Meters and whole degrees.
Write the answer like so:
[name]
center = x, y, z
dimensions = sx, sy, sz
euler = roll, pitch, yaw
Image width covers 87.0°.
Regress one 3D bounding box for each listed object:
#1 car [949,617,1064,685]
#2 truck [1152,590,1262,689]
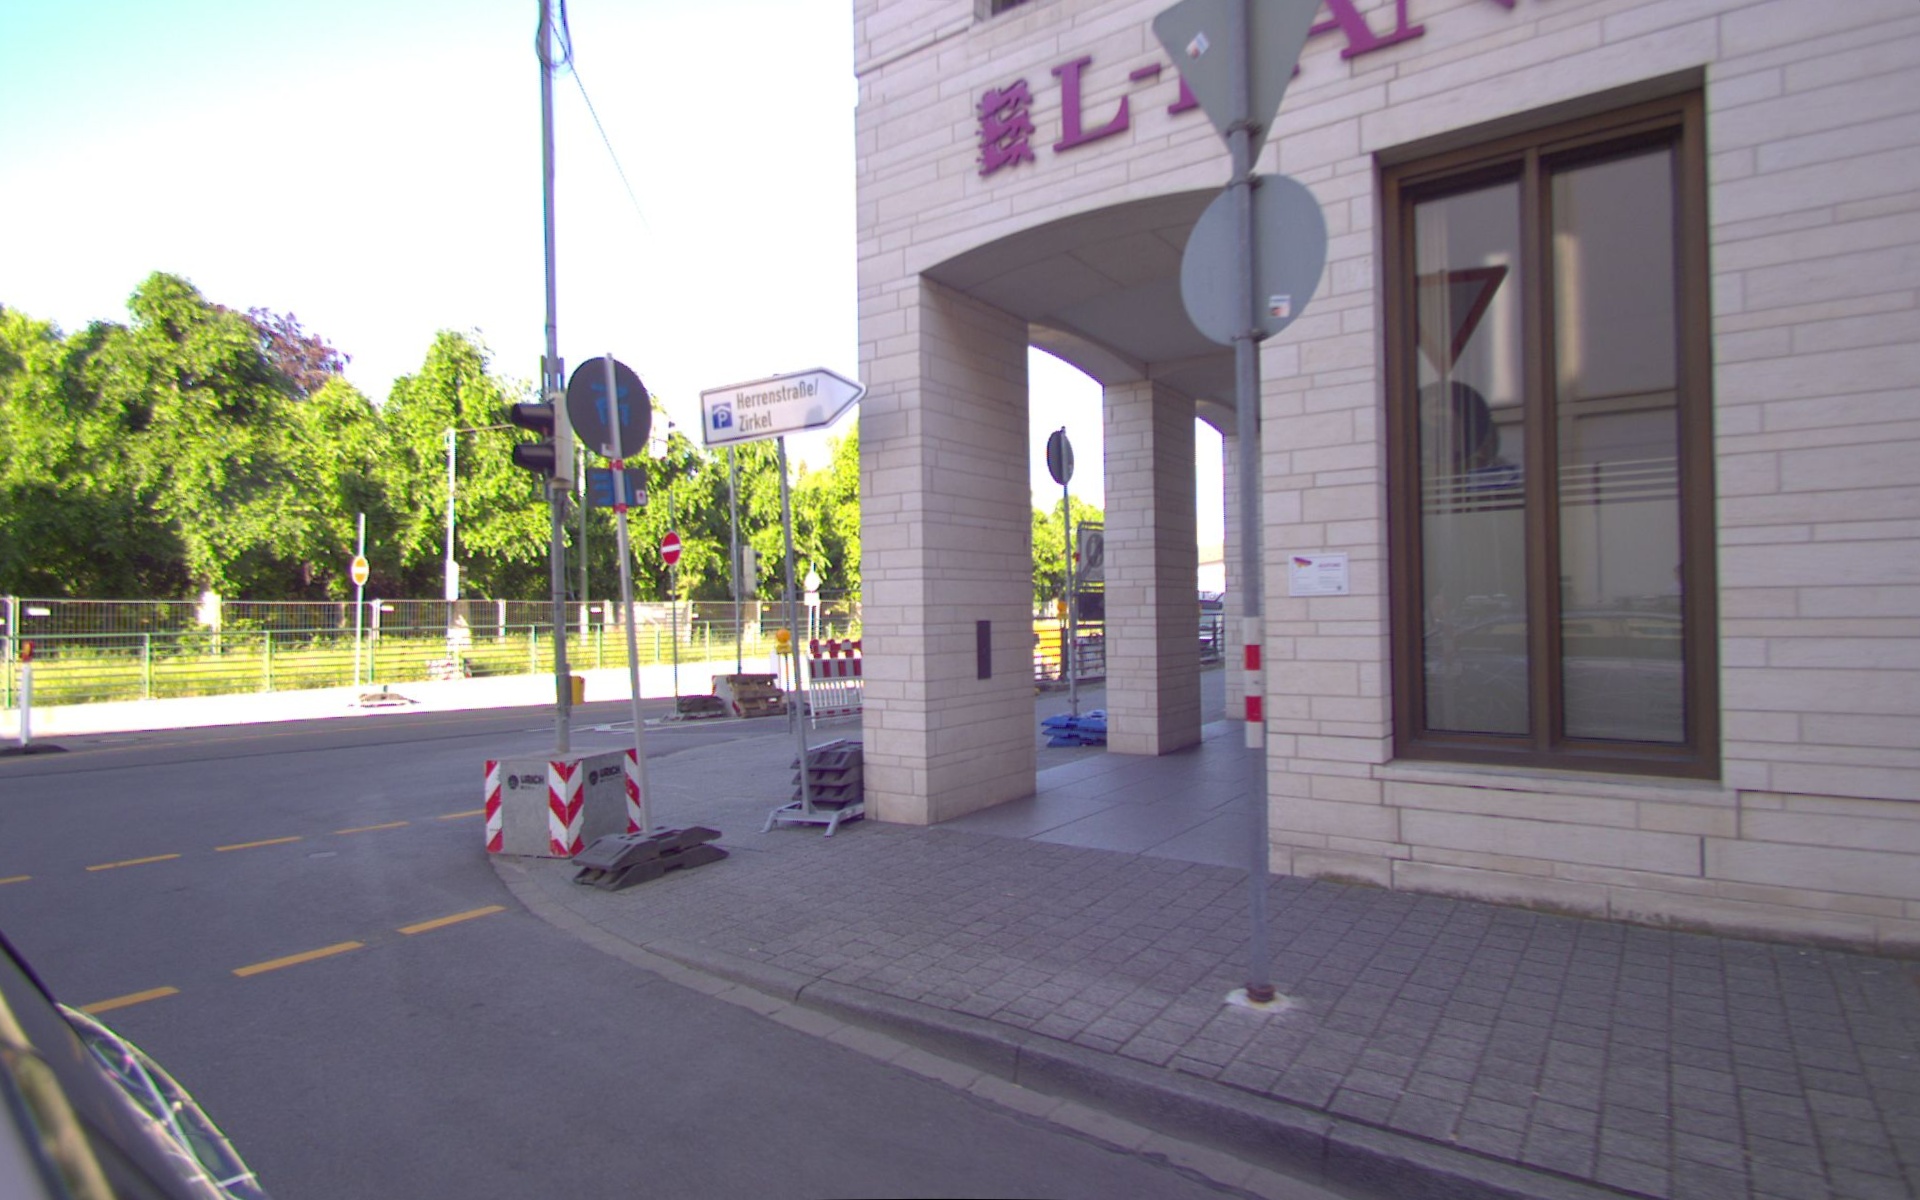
[car]
center = 2.137, 2.218, 43.207
dimensions = 2.109, 2.645, 6.918
euler = -2, -4, 28
[truck]
center = 9.756, 1.578, 39.581
dimensions = 2.578, 3.516, 5.756
euler = 2, -2, 30
